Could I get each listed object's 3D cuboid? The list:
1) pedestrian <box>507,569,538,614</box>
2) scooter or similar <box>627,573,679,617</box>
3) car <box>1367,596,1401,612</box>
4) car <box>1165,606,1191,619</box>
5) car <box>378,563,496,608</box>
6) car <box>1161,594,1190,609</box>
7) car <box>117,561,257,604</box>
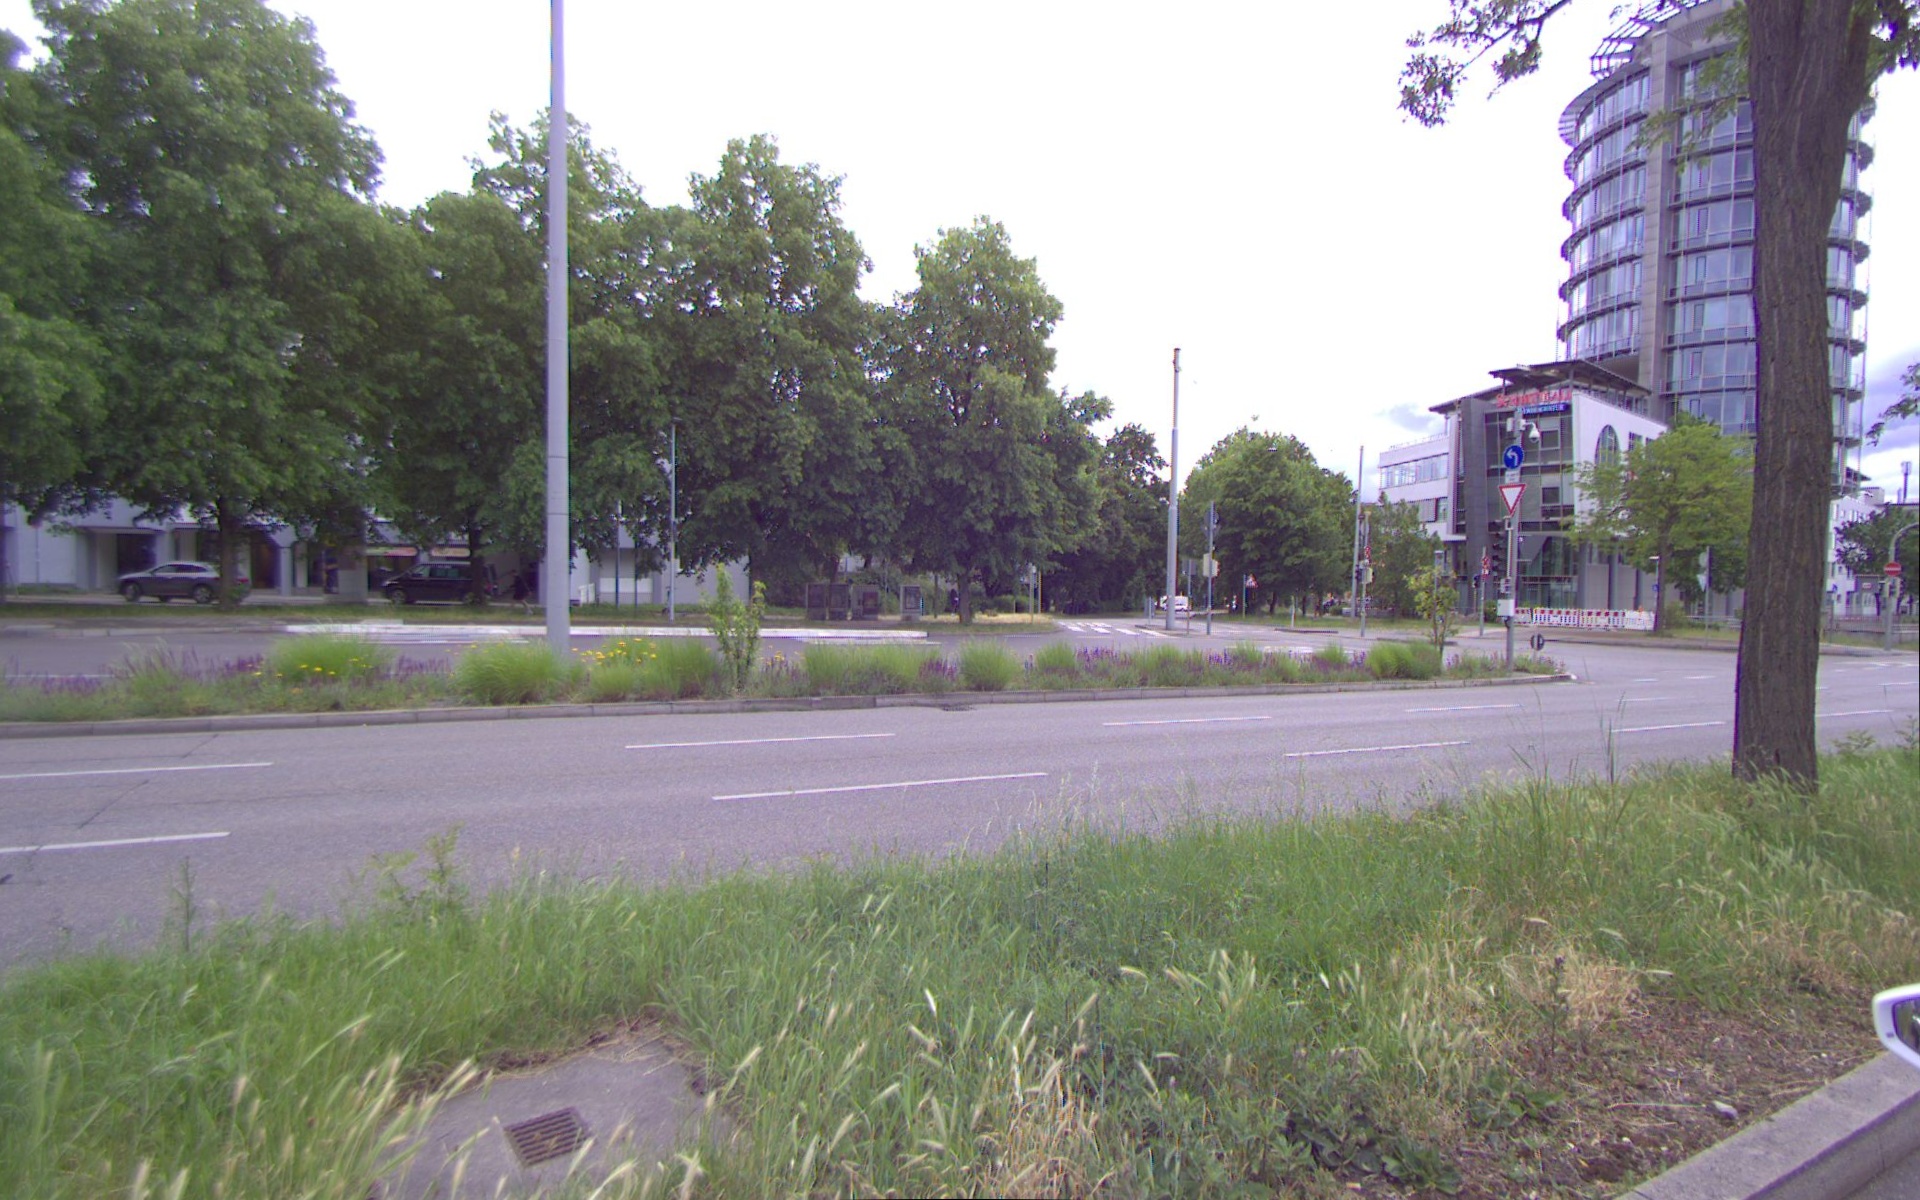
[{"bbox_3d":[-15.428,-0.299,35.407,0.894,1.578,0.766,1,1,-30],"label":"pedestrian"},{"bbox_3d":[-11.868,-0.185,38.851,1.835,1.686,0.645,1,1,-43],"label":"scooter or similar"},{"bbox_3d":[25.044,0.234,59.392,1.684,0.888,0.776,1,0,7],"label":"car"},{"bbox_3d":[36.477,2.094,168.093,1.709,2.040,3.954,1,1,-39],"label":"car"},{"bbox_3d":[-23.314,-0.640,44.949,4.345,1.872,1.781,1,1,-16],"label":"car"},{"bbox_3d":[37.737,0.250,175.671,4.475,2.370,1.994,2,0,-16],"label":"car"},{"bbox_3d":[-29.952,-0.661,39.017,3.926,1.532,1.758,1,1,-7],"label":"car"}]
